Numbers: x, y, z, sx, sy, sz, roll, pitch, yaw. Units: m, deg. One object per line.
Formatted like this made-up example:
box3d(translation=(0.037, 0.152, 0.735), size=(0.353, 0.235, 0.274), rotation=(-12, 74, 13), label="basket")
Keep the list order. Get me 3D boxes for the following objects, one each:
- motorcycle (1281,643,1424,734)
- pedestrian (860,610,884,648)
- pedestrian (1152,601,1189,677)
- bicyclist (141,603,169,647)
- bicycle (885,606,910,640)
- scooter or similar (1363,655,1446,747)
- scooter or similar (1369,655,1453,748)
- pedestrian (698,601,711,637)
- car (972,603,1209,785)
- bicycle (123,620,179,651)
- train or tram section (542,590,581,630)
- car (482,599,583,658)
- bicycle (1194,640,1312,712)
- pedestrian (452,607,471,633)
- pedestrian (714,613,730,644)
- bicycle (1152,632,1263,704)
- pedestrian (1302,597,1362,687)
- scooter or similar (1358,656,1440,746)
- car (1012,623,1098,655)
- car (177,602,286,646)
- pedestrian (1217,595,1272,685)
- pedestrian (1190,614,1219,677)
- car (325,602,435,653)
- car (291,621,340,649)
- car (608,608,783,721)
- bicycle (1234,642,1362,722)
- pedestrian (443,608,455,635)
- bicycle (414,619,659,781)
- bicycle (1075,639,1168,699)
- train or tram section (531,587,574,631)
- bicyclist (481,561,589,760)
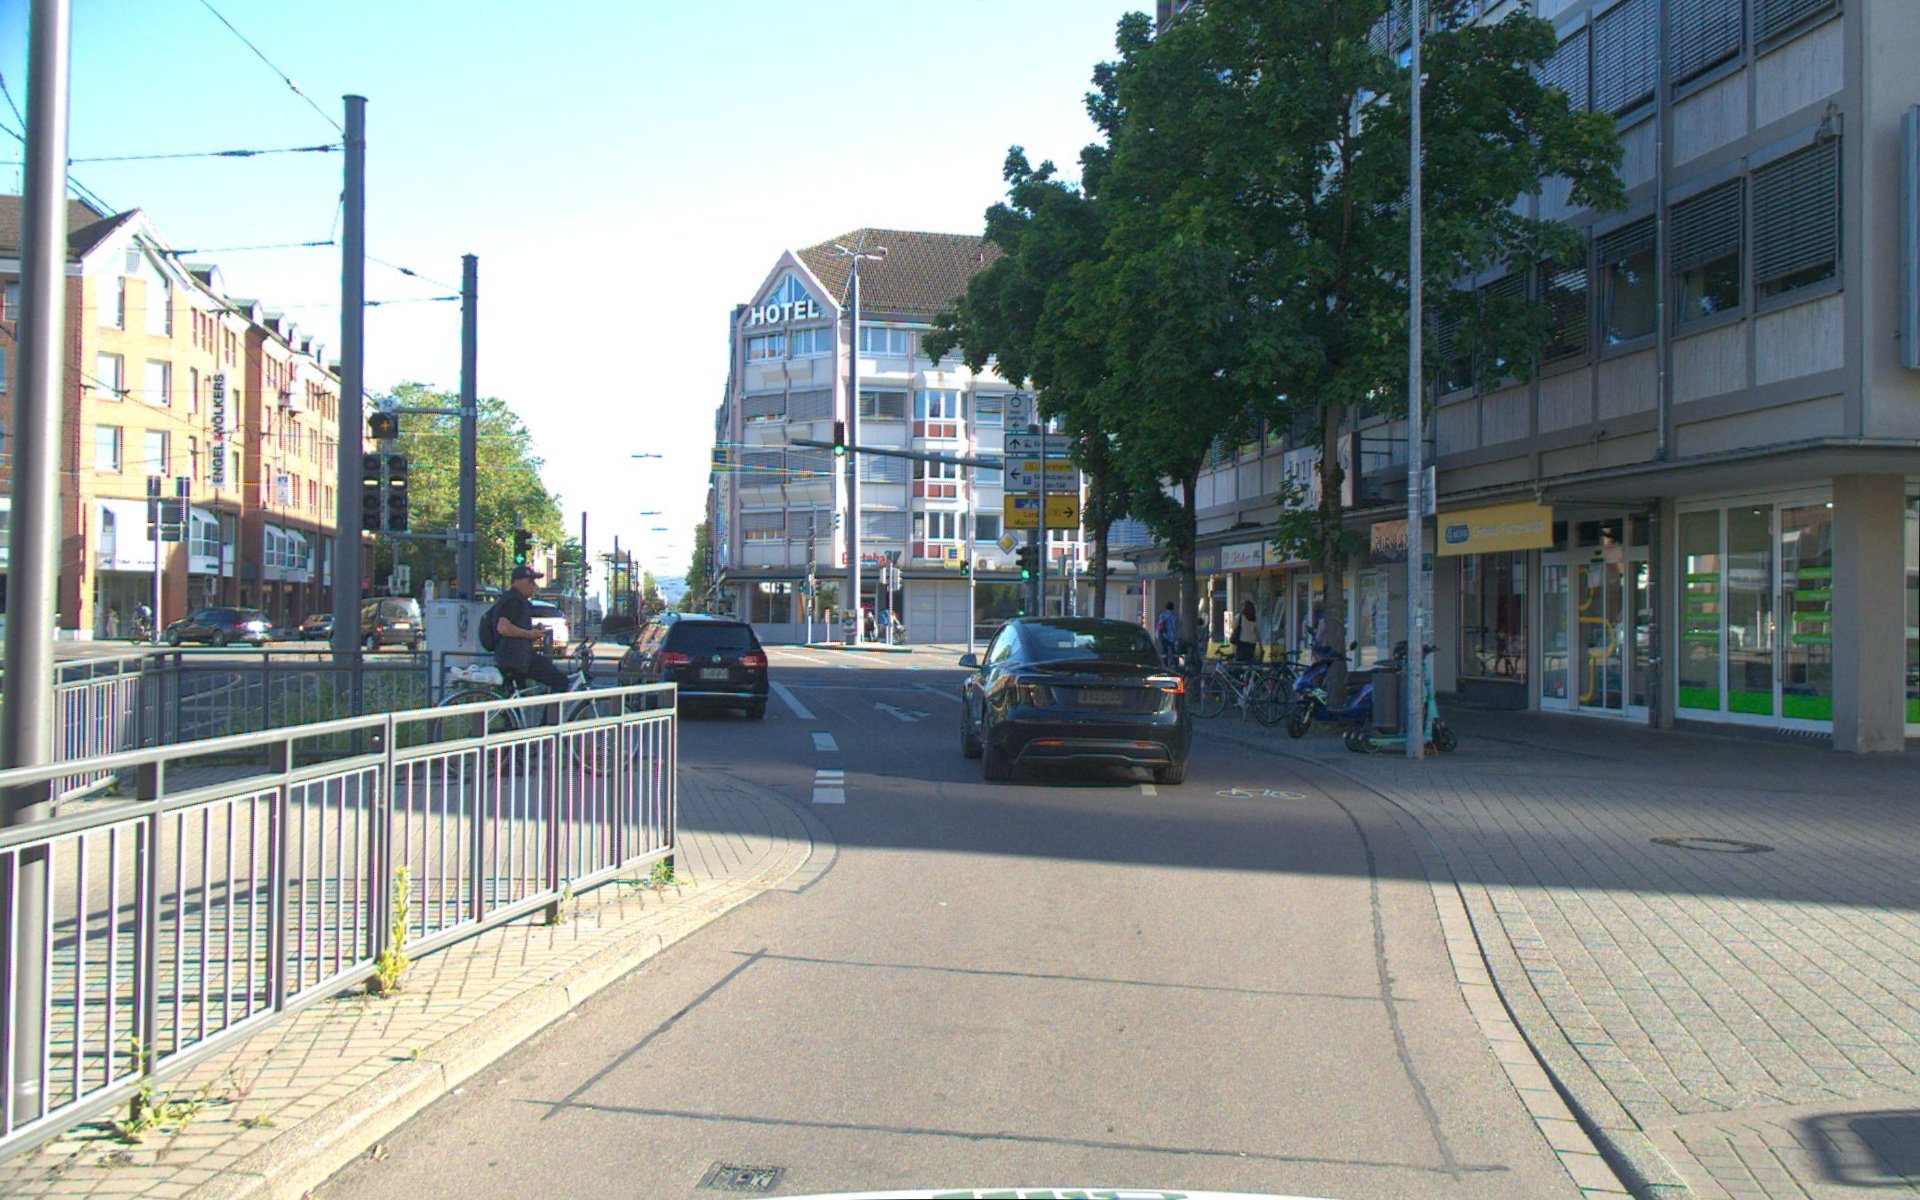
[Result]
box3d(translation=(5.099, 1.145, 21.521), size=(1.753, 1.149, 0.503), rotation=(1, -1, -8), label="motorcycle")
box3d(translation=(-3.792, 1.236, 71.529), size=(0.768, 1.604, 0.862), rotation=(1, 0, -22), label="pedestrian")
box3d(translation=(4.983, 0.920, 39.224), size=(0.825, 1.751, 0.880), rotation=(1, -1, 5), label="pedestrian")
box3d(translation=(-33.143, 1.014, 68.125), size=(0.810, 1.803, 0.614), rotation=(1, -1, 4), label="bicyclist")
box3d(translation=(-2.754, 1.004, 72.381), size=(0.574, 1.489, 1.674), rotation=(0, -1, -22), label="bicycle")
box3d(translation=(5.203, 1.181, 19.346), size=(0.937, 1.057, 0.159), rotation=(0, -1, -5), label="scooter or similar")
box3d(translation=(5.220, 1.176, 19.149), size=(0.945, 1.061, 0.159), rotation=(0, -1, -5), label="scooter or similar")
box3d(translation=(-13.127, 0.992, 84.874), size=(0.615, 1.814, 0.915), rotation=(1, -1, -12), label="pedestrian")
box3d(translation=(1.095, 0.835, 15.547), size=(1.754, 1.476, 3.937), rotation=(1, -2, -2), label="car")
box3d(translation=(-33.313, 1.477, 68.118), size=(1.991, 1.245, 0.629), rotation=(1, -1, 4), label="bicycle")
box3d(translation=(-36.663, 0.966, 152.411), size=(2.664, 3.608, 10.144), rotation=(1, -1, -10), label="train or tram section")
box3d(translation=(-12.431, 0.825, 47.993), size=(1.823, 1.663, 3.445), rotation=(1, -1, -34), label="car")
box3d(translation=(4.516, 1.171, 25.554), size=(1.731, 1.075, 0.458), rotation=(1, -1, -2), label="bicycle")
box3d(translation=(-32.131, 1.282, 106.587), size=(1.088, 1.653, 0.843), rotation=(1, -1, -18), label="pedestrian")
box3d(translation=(-13.614, 1.621, 94.590), size=(0.897, 1.785, 0.837), rotation=(1, -1, -9), label="pedestrian")
box3d(translation=(4.116, 1.125, 27.533), size=(1.777, 1.172, 0.434), rotation=(0, -1, -12), label="bicycle")
box3d(translation=(6.871, 0.773, 30.603), size=(0.827, 1.630, 0.878), rotation=(1, -1, -8), label="pedestrian")
box3d(translation=(5.185, 1.194, 19.545), size=(0.945, 1.045, 0.159), rotation=(0, -1, -5), label="scooter or similar")
box3d(translation=(4.545, 1.863, 79.000), size=(3.774, 1.457, 1.797), rotation=(0, -3, -13), label="car")
box3d(translation=(-26.813, 0.890, 60.883), size=(3.391, 1.578, 1.731), rotation=(0, -1, 21), label="car")
box3d(translation=(5.586, 0.780, 32.525), size=(0.827, 1.737, 0.878), rotation=(1, -1, -8), label="pedestrian")
box3d(translation=(5.773, 1.067, 38.998), size=(0.631, 1.447, 0.621), rotation=(0, -1, 11), label="pedestrian")
box3d(translation=(-19.370, 0.902, 55.176), size=(3.706, 1.646, 1.572), rotation=(0, -1, 35), label="car")
box3d(translation=(-35.661, 1.943, 91.593), size=(1.785, 1.479, 3.967), rotation=(-1, -1, -11), label="car")
box3d(translation=(-3.972, 0.870, 24.240), size=(1.738, 1.469, 4.502), rotation=(1, 0, -20), label="car")
box3d(translation=(4.804, 1.154, 23.510), size=(1.822, 1.074, 0.397), rotation=(-1, -1, -19), label="bicycle")
box3d(translation=(-30.095, 1.280, 97.335), size=(0.576, 1.558, 0.632), rotation=(1, -1, -25), label="pedestrian")
box3d(translation=(-3.400, 0.779, 13.346), size=(1.802, 1.233, 0.635), rotation=(1, -1, -32), label="bicycle")
box3d(translation=(3.369, 1.437, 34.554), size=(1.854, 1.177, 0.479), rotation=(-1, -1, -7), label="bicycle")
box3d(translation=(-35.019, 0.831, 142.460), size=(2.679, 3.604, 10.063), rotation=(1, -1, -9), label="train or tram section")
box3d(translation=(-3.430, 0.482, 13.336), size=(0.674, 1.550, 0.628), rotation=(1, -1, -32), label="bicyclist")
